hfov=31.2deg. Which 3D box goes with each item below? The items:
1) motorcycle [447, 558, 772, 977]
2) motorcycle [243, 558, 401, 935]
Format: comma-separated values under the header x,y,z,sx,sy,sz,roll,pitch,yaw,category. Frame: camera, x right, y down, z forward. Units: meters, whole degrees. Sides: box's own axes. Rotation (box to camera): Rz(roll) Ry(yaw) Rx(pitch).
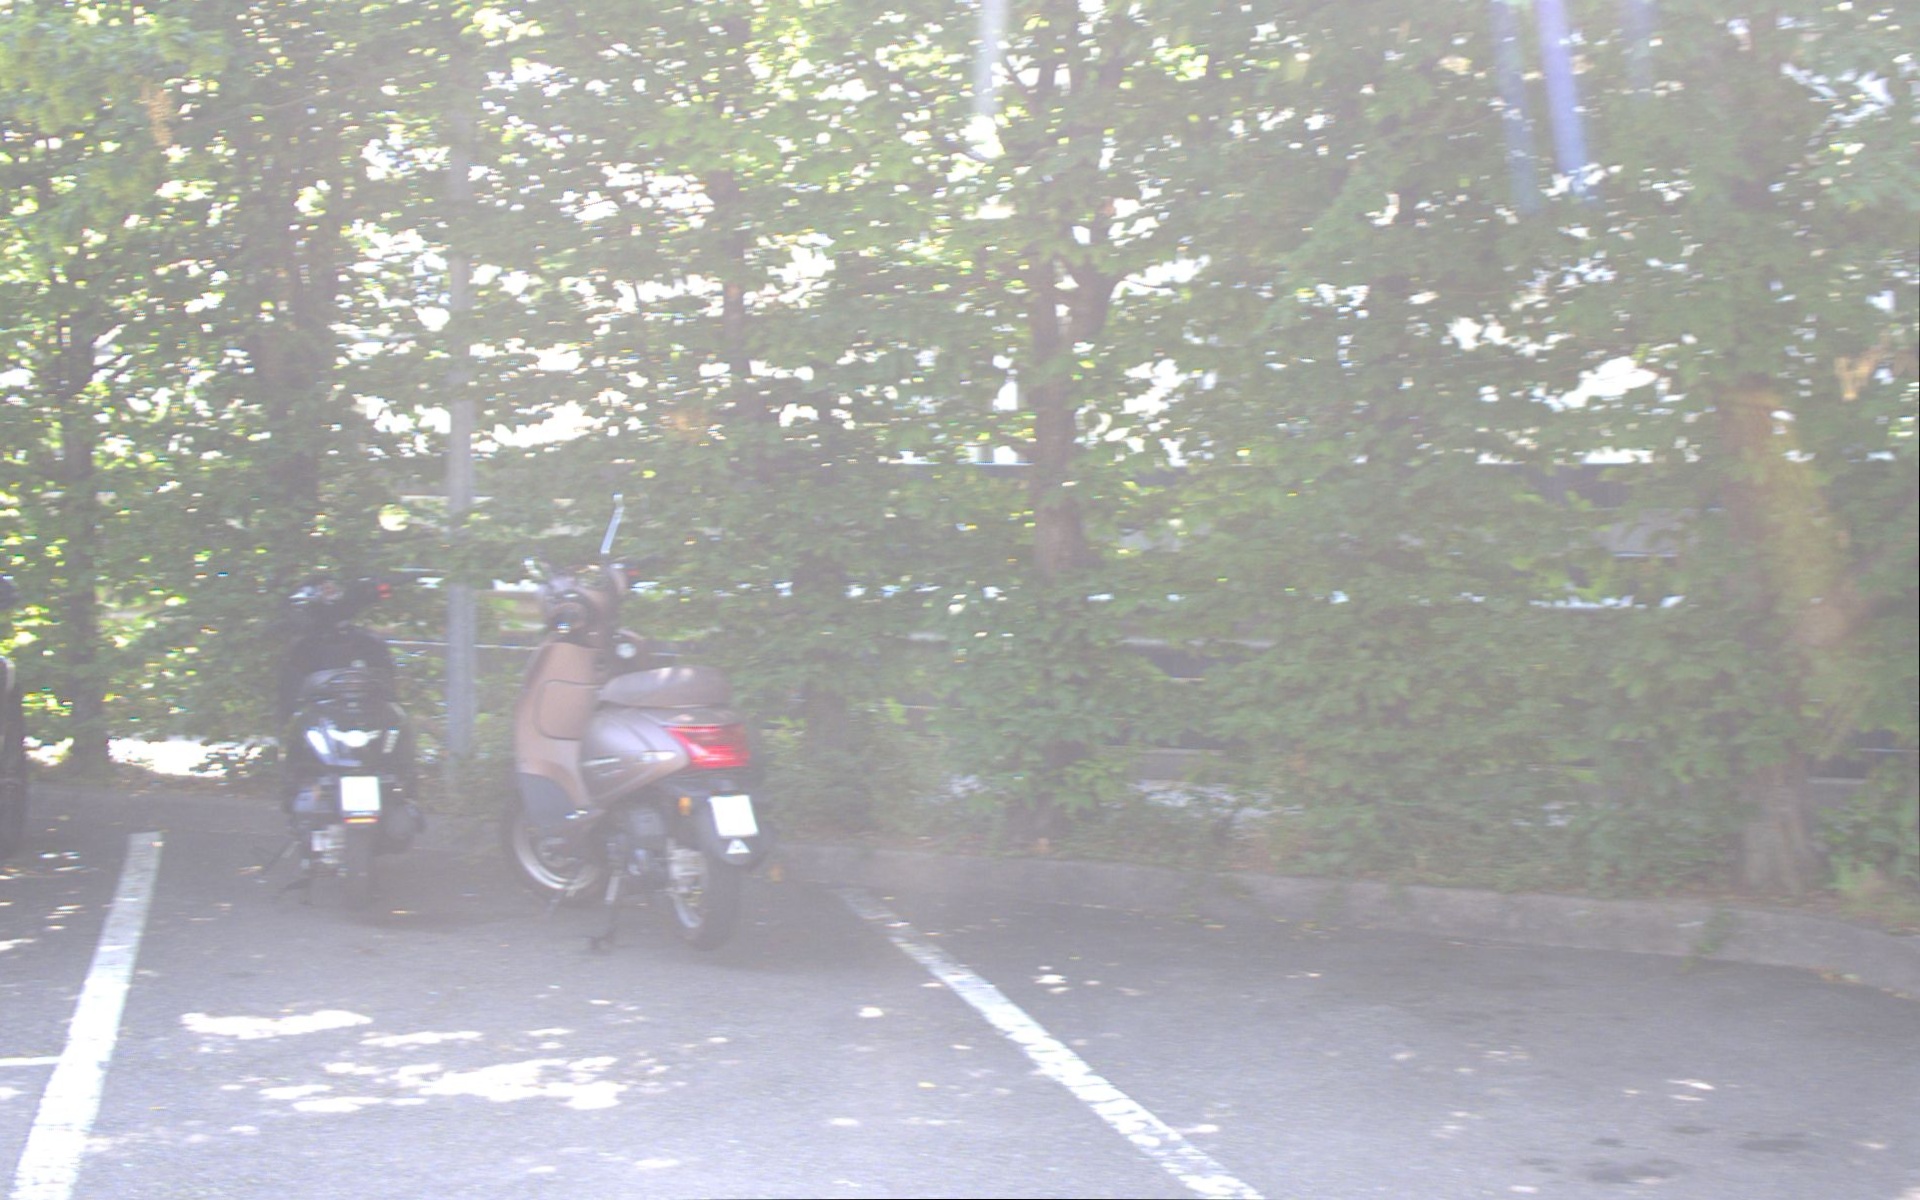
x,y,z,sx,sy,sz,roll,pitch,yaw,category
-1.120,0.470,10.684,0.568,1.165,1.606,-1,2,-22,motorcycle
-2.176,0.452,11.635,0.473,1.137,1.606,-1,2,-12,motorcycle
